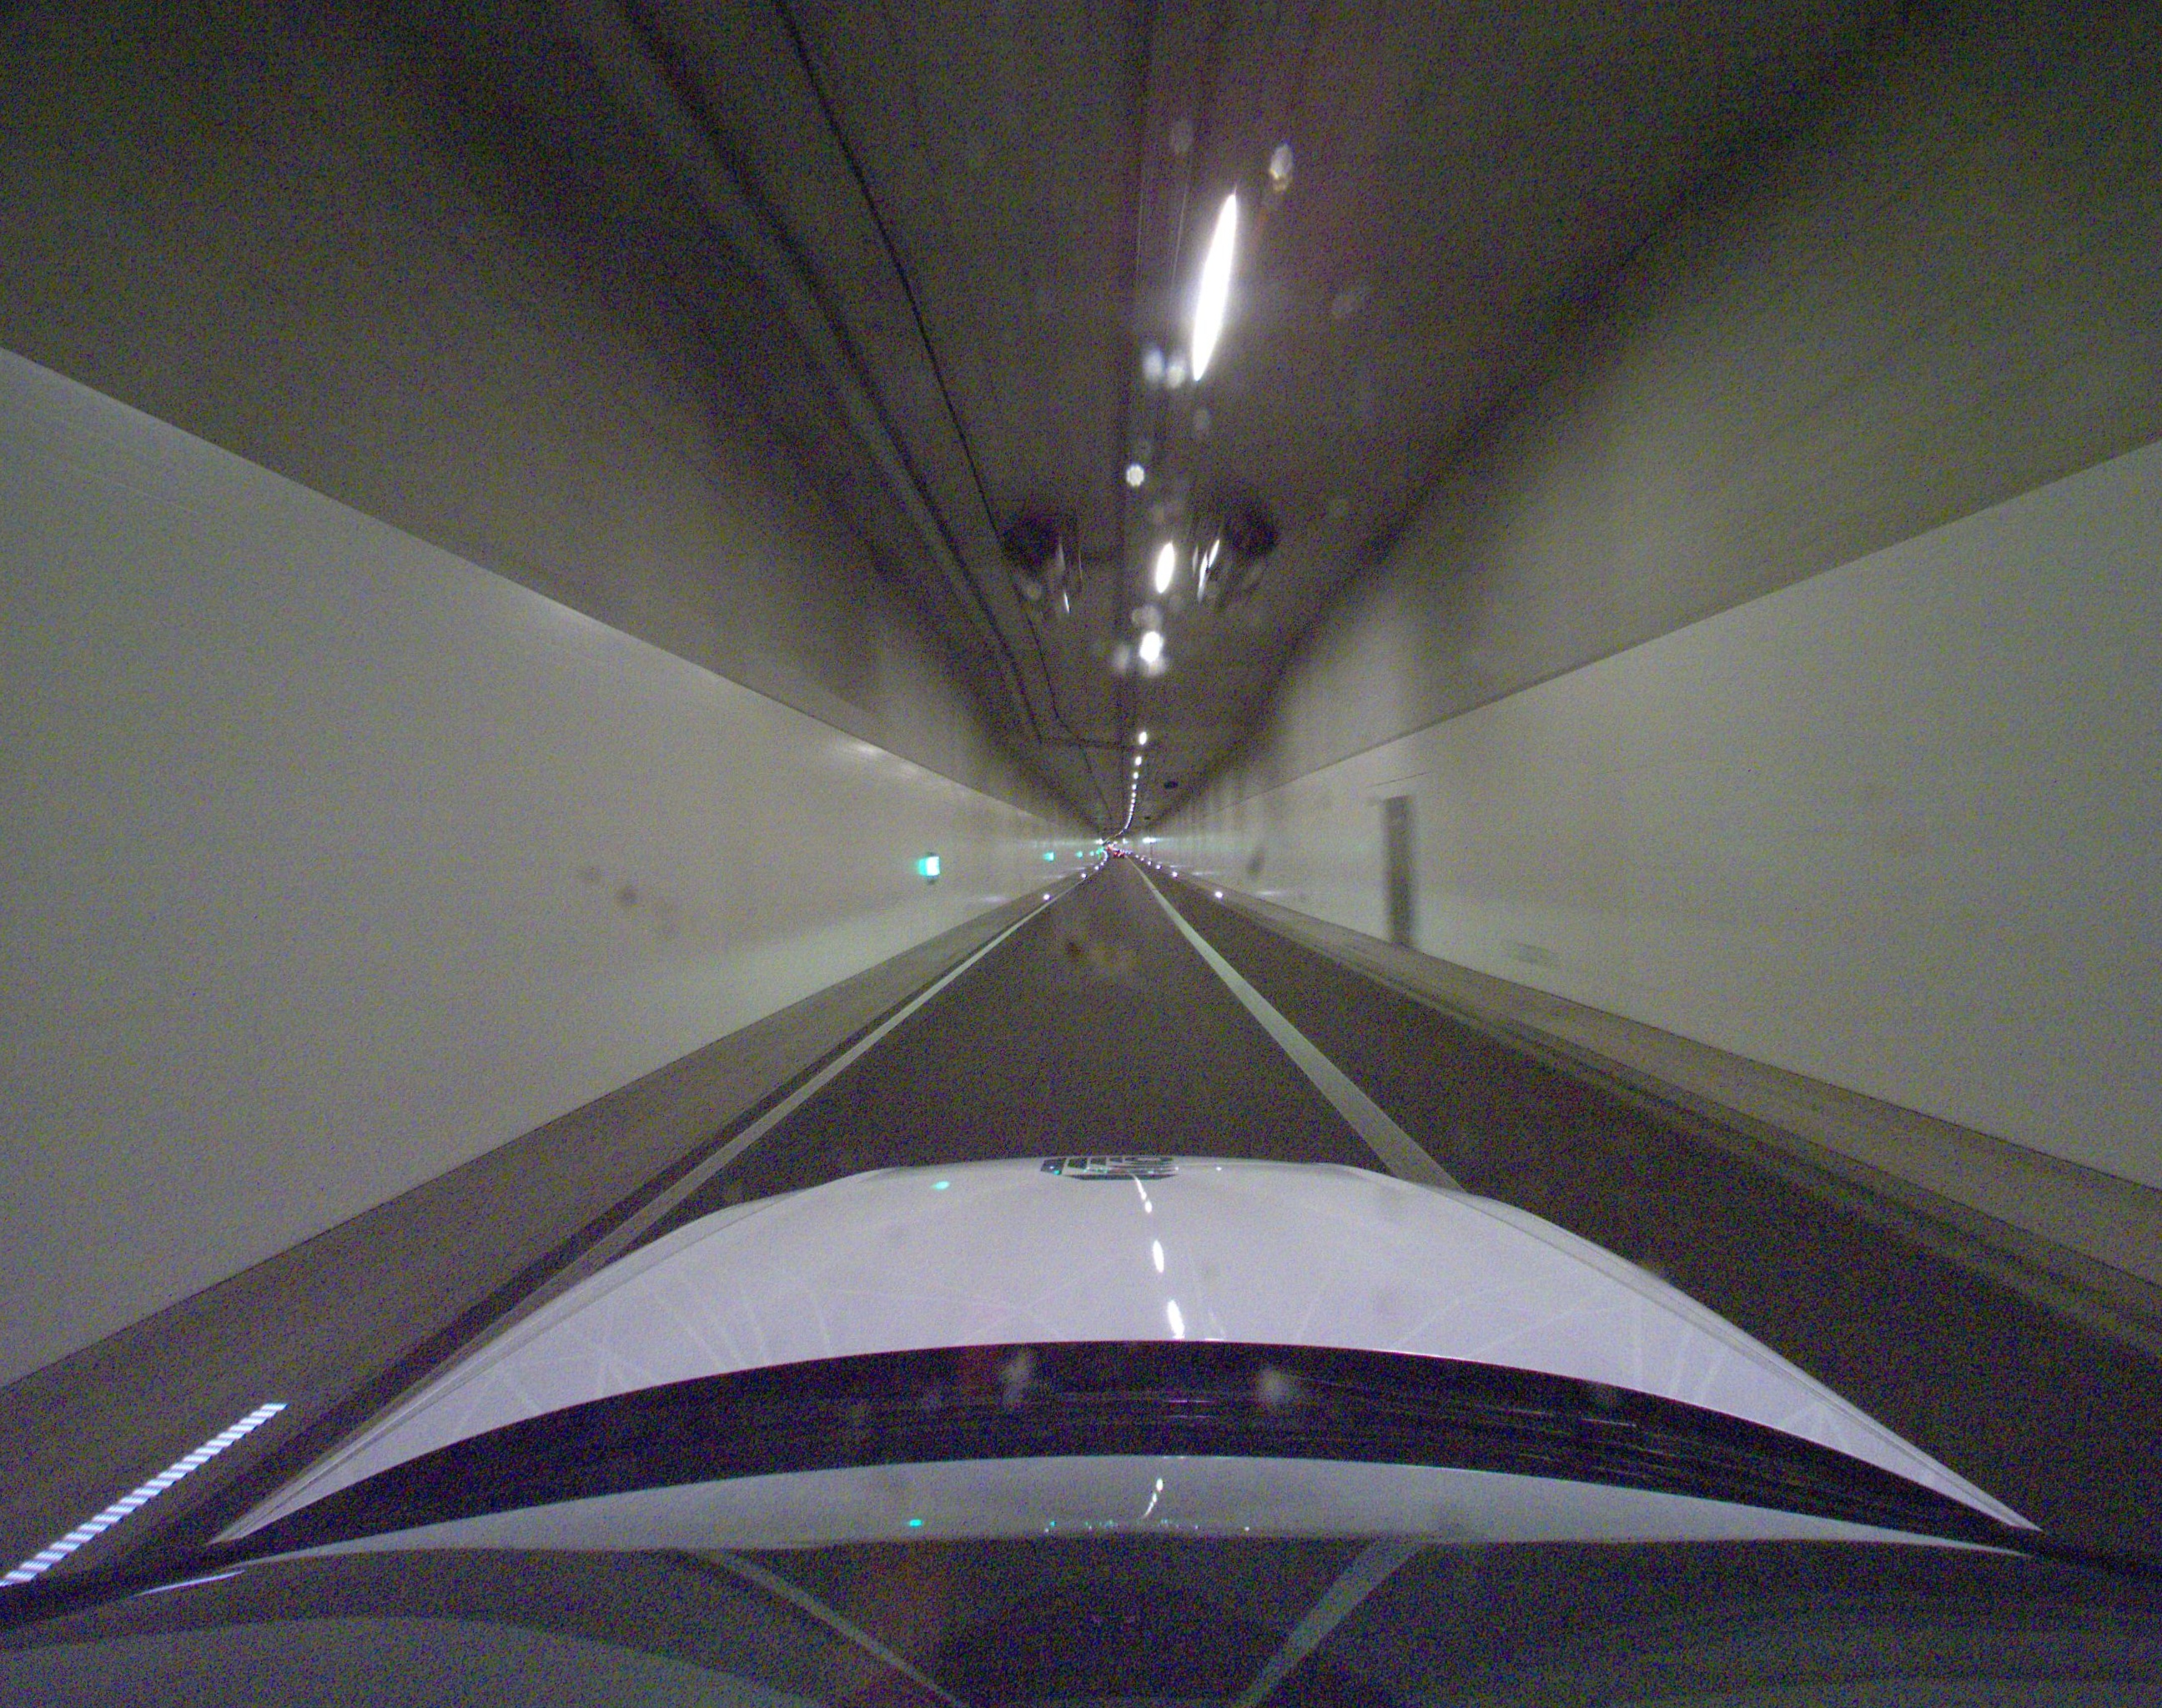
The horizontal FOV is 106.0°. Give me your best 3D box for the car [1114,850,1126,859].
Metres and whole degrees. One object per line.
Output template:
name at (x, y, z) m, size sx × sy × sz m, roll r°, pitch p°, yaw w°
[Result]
car at (6.673, 0.052, 140.027) m, size 1.987 × 1.420 × 4.000 m, roll 1°, pitch 0°, yaw 0°
